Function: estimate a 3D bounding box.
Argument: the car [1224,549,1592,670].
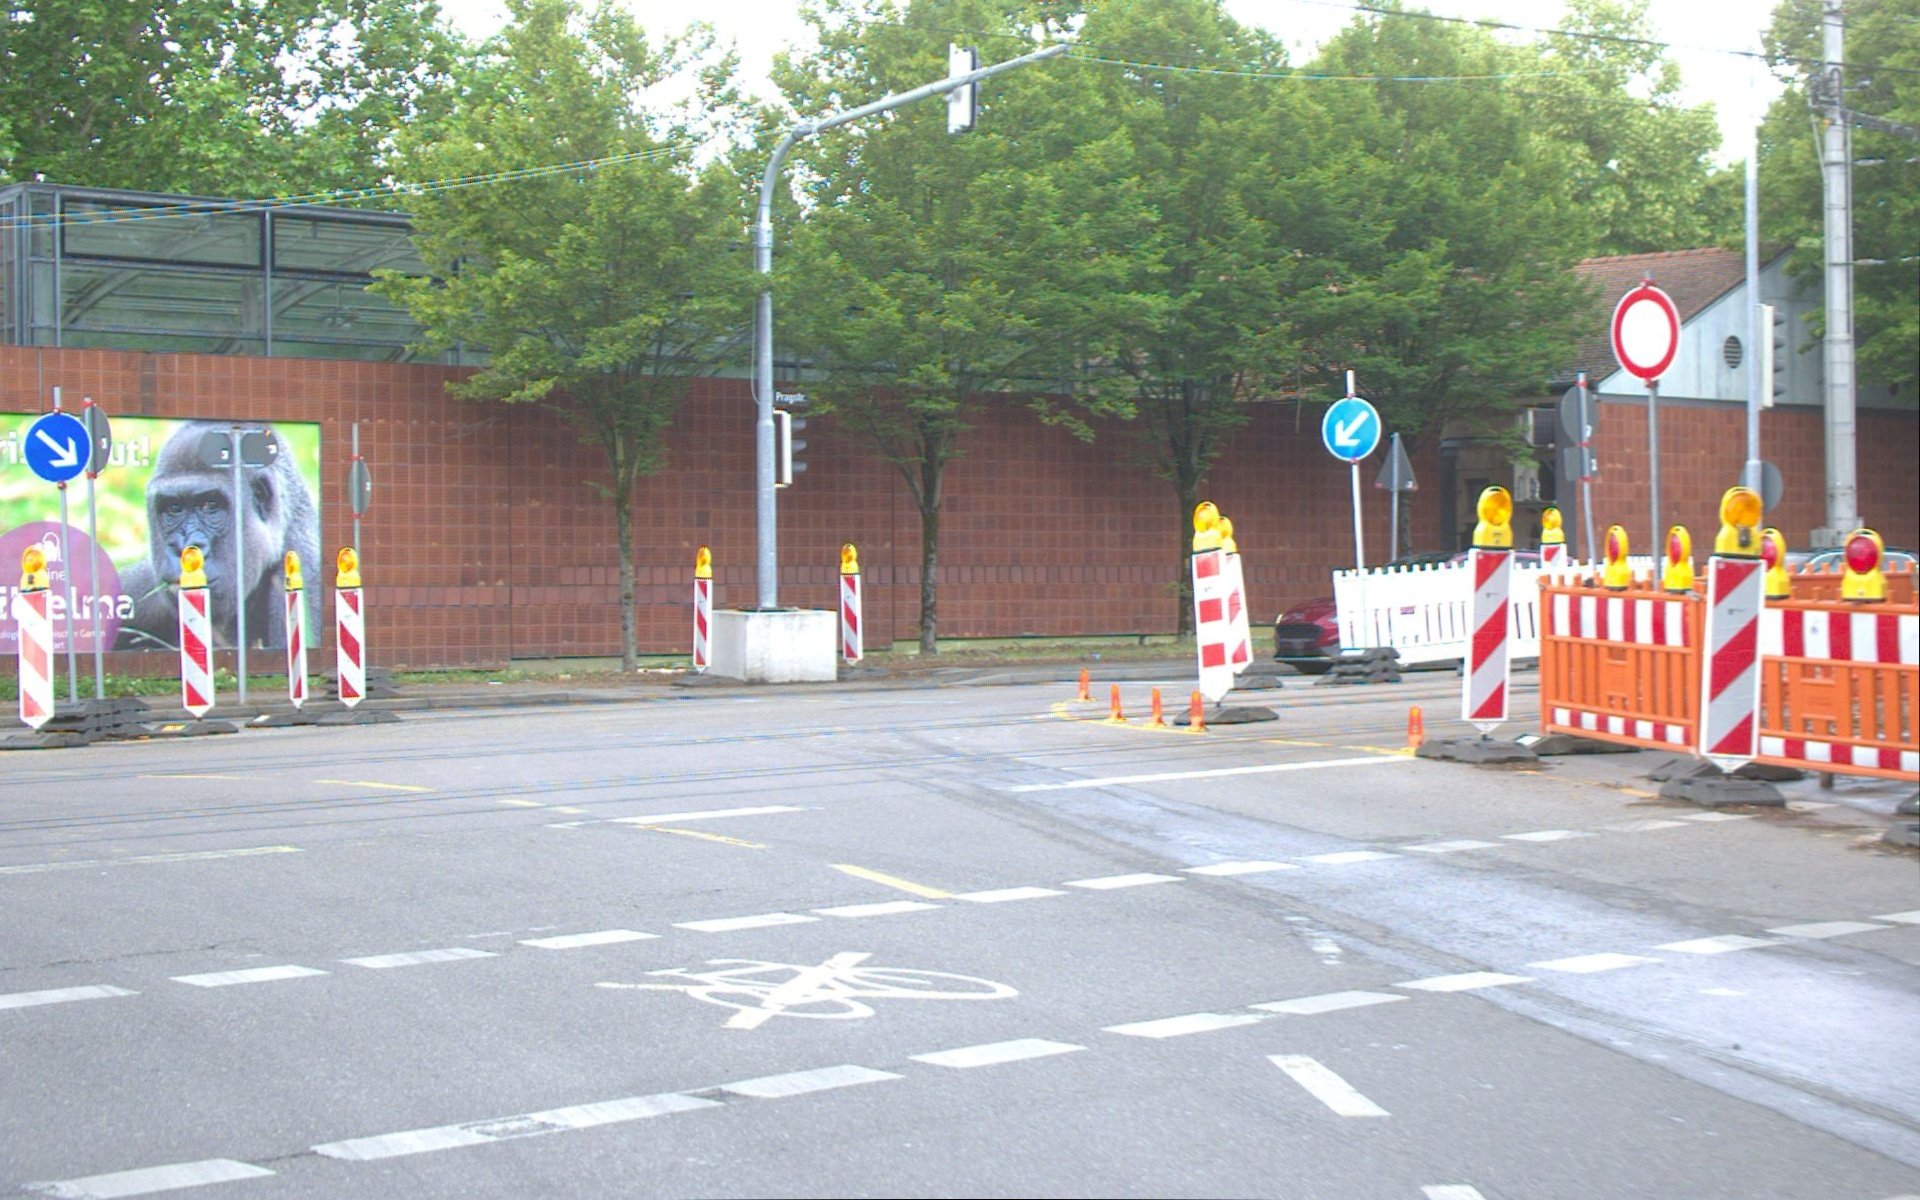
[{"bbox_3d":[5.664,0.120,43.246,4.444,1.438,1.880,0,-1,-35],"label":"car"}]

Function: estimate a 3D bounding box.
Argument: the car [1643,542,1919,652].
[{"bbox_3d":[11.707,-0.041,47.616,4.444,1.438,1.803,0,-1,-35],"label":"car"}]
